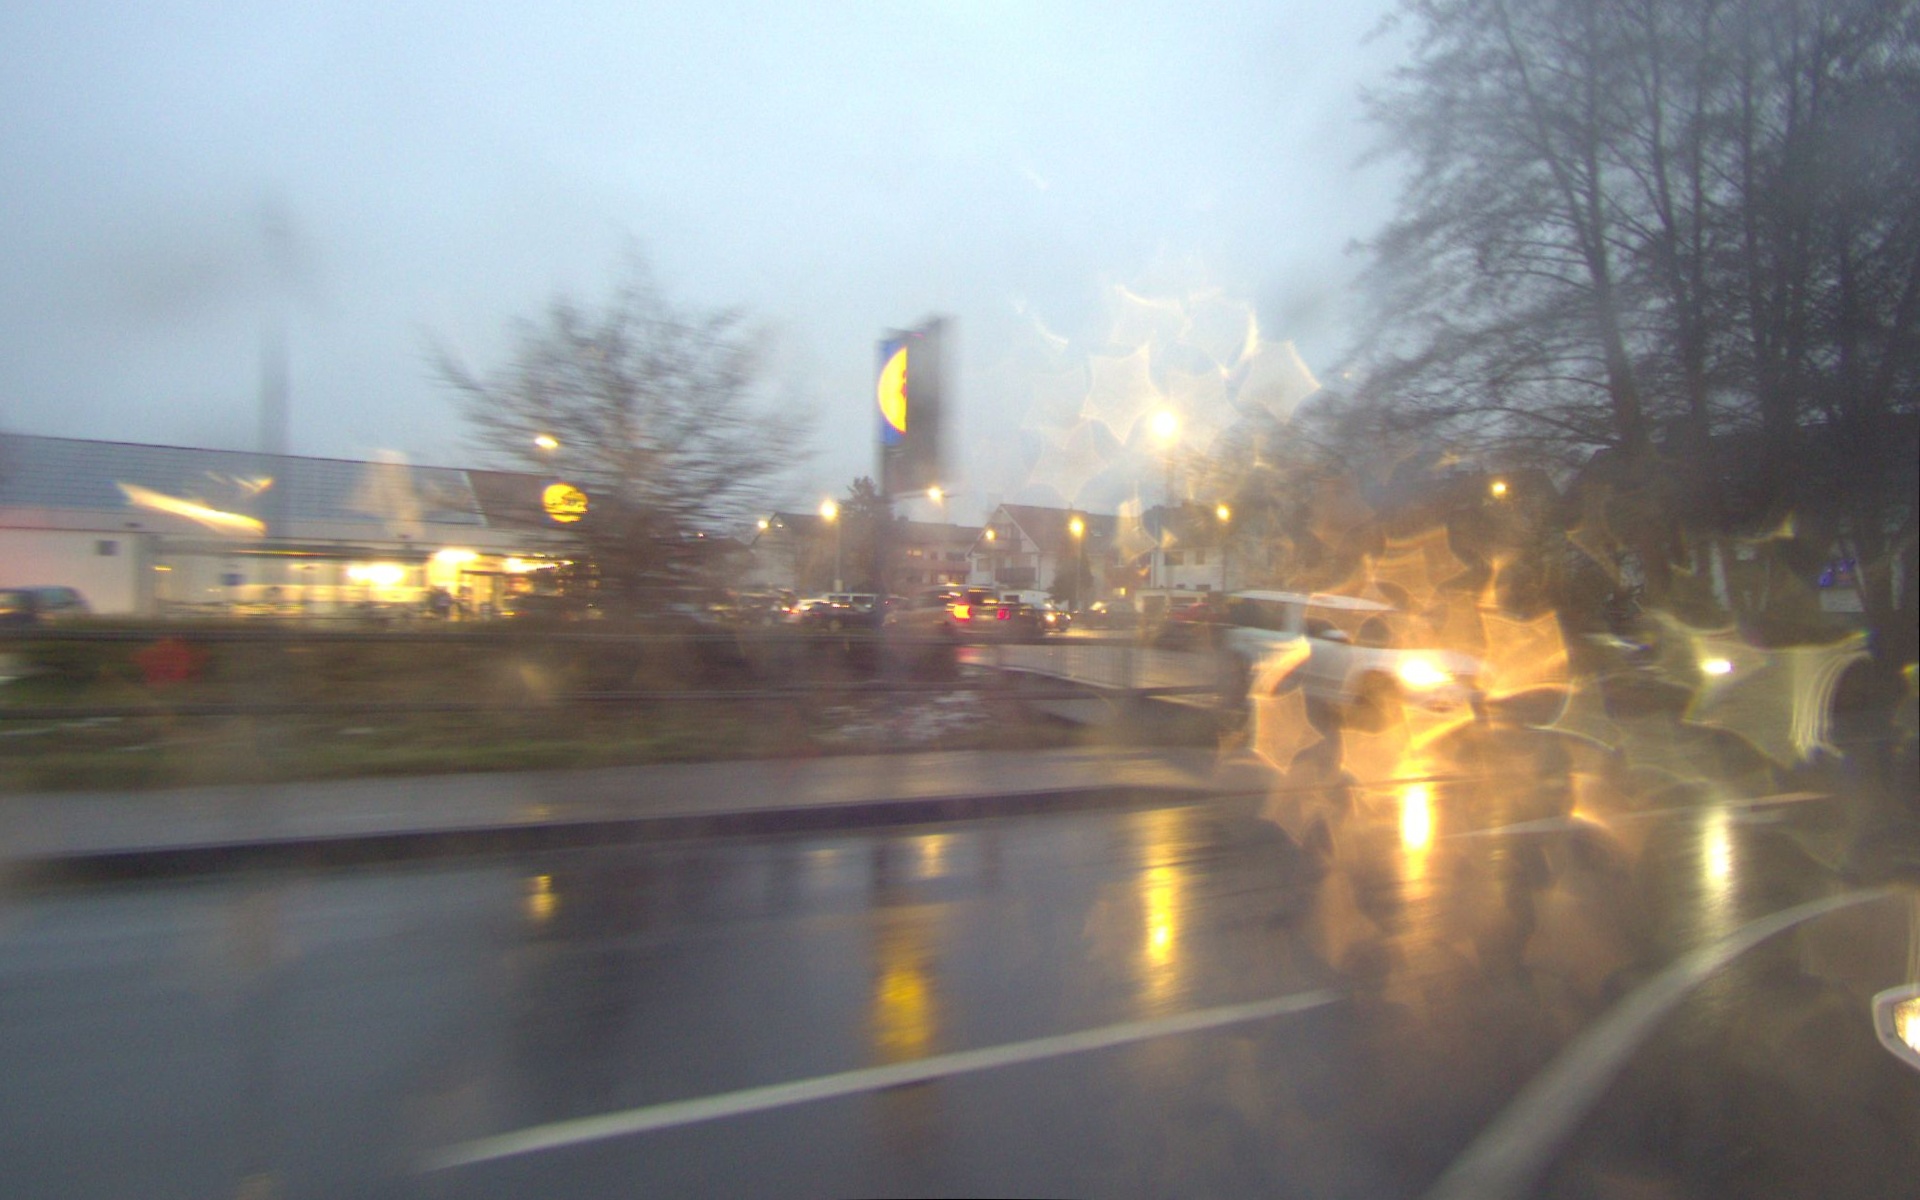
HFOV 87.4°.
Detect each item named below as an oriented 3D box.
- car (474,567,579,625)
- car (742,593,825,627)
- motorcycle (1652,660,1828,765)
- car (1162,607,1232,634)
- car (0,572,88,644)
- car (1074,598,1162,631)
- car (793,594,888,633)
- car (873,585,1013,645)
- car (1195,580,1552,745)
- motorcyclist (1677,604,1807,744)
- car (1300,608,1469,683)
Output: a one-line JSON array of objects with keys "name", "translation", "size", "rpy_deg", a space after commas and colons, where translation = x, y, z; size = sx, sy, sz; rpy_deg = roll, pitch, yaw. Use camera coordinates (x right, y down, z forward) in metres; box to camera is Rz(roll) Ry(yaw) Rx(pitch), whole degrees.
[{"name": "car", "translation": [-12.793, -0.072, 29.491], "size": [2.034, 1.584, 4.402], "rpy_deg": [0, -1, -34]}, {"name": "car", "translation": [-9.458, 0.492, 53.940], "size": [3.964, 1.639, 1.897], "rpy_deg": [-1, 3, -38]}, {"name": "motorcycle", "translation": [8.984, 1.249, 11.554], "size": [2.085, 1.037, 0.861], "rpy_deg": [1, 1, -30]}, {"name": "car", "translation": [11.901, 1.019, 50.395], "size": [3.356, 1.146, 1.551], "rpy_deg": [-1, 4, -33]}, {"name": "car", "translation": [-22.409, 0.226, 23.857], "size": [2.034, 1.584, 4.402], "rpy_deg": [0, -1, -34]}, {"name": "car", "translation": [8.670, 0.761, 55.145], "size": [4.611, 1.590, 2.035], "rpy_deg": [-1, 3, -33]}, {"name": "car", "translation": [-5.532, 0.596, 46.664], "size": [3.964, 1.639, 1.897], "rpy_deg": [-1, 3, -38]}, {"name": "car", "translation": [-0.582, 0.411, 30.649], "size": [1.953, 1.694, 4.369], "rpy_deg": [-1, 1, -41]}, {"name": "car", "translation": [5.388, 0.694, 13.706], "size": [1.877, 1.722, 4.207], "rpy_deg": [1, 3, -29]}, {"name": "motorcyclist", "translation": [8.959, 0.817, 11.521], "size": [0.898, 1.505, 0.861], "rpy_deg": [1, 1, -30]}, {"name": "car", "translation": [13.744, 1.398, 32.756], "size": [2.110, 2.004, 4.607], "rpy_deg": [-1, 3, -39]}]
